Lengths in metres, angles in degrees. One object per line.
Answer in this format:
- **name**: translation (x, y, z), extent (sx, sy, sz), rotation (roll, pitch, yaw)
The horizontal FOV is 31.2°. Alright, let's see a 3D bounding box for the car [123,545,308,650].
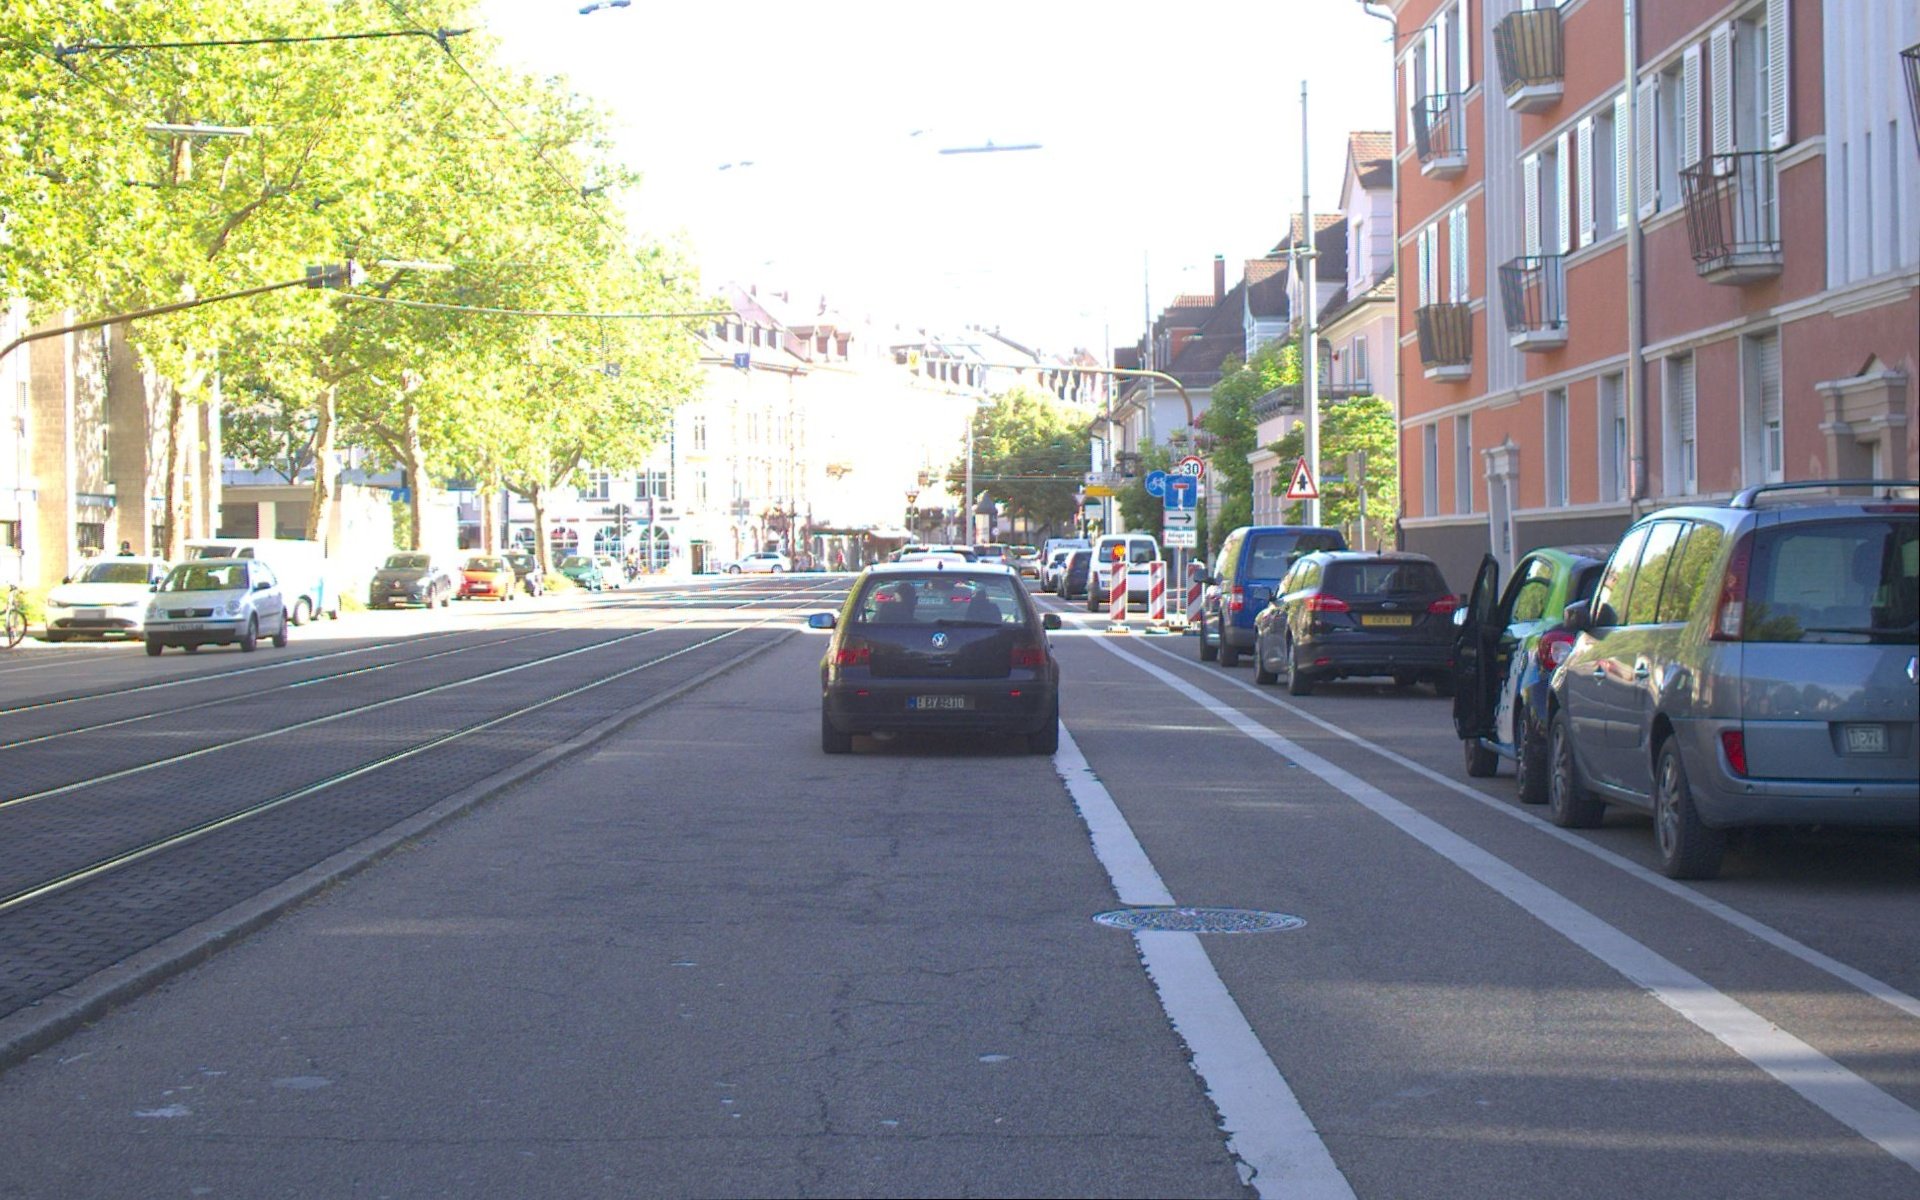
- **car**: translation (-11.542, -0.069, 53.516), extent (1.753, 1.513, 4.071), rotation (-2, 1, 3)

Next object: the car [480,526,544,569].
- **car**: translation (-16.301, -1.925, 125.211), extent (1.792, 1.460, 3.836), rotation (2, 1, 0)

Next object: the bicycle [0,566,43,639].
- **bicycle**: translation (-16.152, 0.035, 58.920), extent (0.581, 1.205, 1.654), rotation (1, 1, -6)

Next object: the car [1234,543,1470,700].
- **car**: translation (4.098, 0.175, 36.646), extent (1.753, 1.506, 4.763), rotation (1, 1, -2)

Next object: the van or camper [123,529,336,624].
- **van or camper**: translation (-15.836, -0.534, 74.846), extent (2.062, 1.943, 5.184), rotation (2, 1, 20)

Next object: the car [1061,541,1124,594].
- **car**: translation (3.854, -0.959, 100.206), extent (1.661, 1.520, 4.036), rotation (0, 1, 0)

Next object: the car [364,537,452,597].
- **car**: translation (-15.892, -0.967, 99.154), extent (1.888, 1.660, 4.000), rotation (0, 1, 0)

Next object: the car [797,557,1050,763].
- **car**: translation (-0.302, 0.389, 25.843), extent (1.748, 1.370, 4.000), rotation (-1, 1, -1)

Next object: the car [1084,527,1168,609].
- **car**: translation (3.861, -0.772, 80.444), extent (1.759, 1.831, 3.548), rotation (1, 1, 0)

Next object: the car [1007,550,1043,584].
- **car**: translation (3.109, -1.597, 164.426), extent (1.668, 1.592, 3.650), rotation (0, 1, 0)

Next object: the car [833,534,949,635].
- **car**: translation (-1.079, -0.280, 55.474), extent (1.748, 1.532, 3.892), rotation (-1, 1, 0)

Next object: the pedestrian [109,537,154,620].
- **pedestrian**: translation (-18.452, -0.486, 76.576), extent (0.796, 1.814, 0.670), rotation (1, 1, 0)

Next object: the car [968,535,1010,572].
- **car**: translation (1.143, -1.860, 137.737), extent (1.636, 1.467, 3.729), rotation (0, 1, 0)

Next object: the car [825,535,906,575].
- **car**: translation (-5.075, -2.411, 184.093), extent (3.986, 2.007, 2.001), rotation (1, 1, -11)

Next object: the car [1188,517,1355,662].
- **car**: translation (4.039, -0.171, 45.151), extent (1.702, 1.804, 4.272), rotation (0, 1, -2)

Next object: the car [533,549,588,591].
- **car**: translation (-16.764, -1.284, 144.383), extent (1.883, 1.663, 3.805), rotation (1, 1, -1)

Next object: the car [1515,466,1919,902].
- **car**: translation (4.022, 0.318, 17.031), extent (1.753, 1.849, 4.816), rotation (0, 1, 0)

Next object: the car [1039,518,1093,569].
- **car**: translation (3.768, -2.008, 122.812), extent (1.817, 1.793, 4.000), rotation (0, 1, 0)

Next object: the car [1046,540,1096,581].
- **car**: translation (3.785, -1.355, 118.054), extent (1.580, 1.370, 4.000), rotation (0, 1, 0)

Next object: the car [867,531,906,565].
- **car**: translation (-3.439, -2.465, 161.853), extent (1.636, 1.467, 3.729), rotation (-5, 1, 0)

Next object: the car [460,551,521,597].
- **car**: translation (-15.788, -0.856, 115.650), extent (1.570, 1.528, 3.572), rotation (0, 0, 0)

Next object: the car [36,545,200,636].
- **car**: translation (-15.740, -0.212, 64.497), extent (2.011, 1.567, 4.694), rotation (1, 1, -2)

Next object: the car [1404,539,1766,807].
- **car**: translation (3.844, 0.391, 21.693), extent (1.631, 1.506, 3.717), rotation (1, 1, 1)

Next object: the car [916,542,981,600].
- **car**: translation (-0.290, -0.758, 88.757), extent (1.636, 1.467, 3.729), rotation (0, 1, 0)
